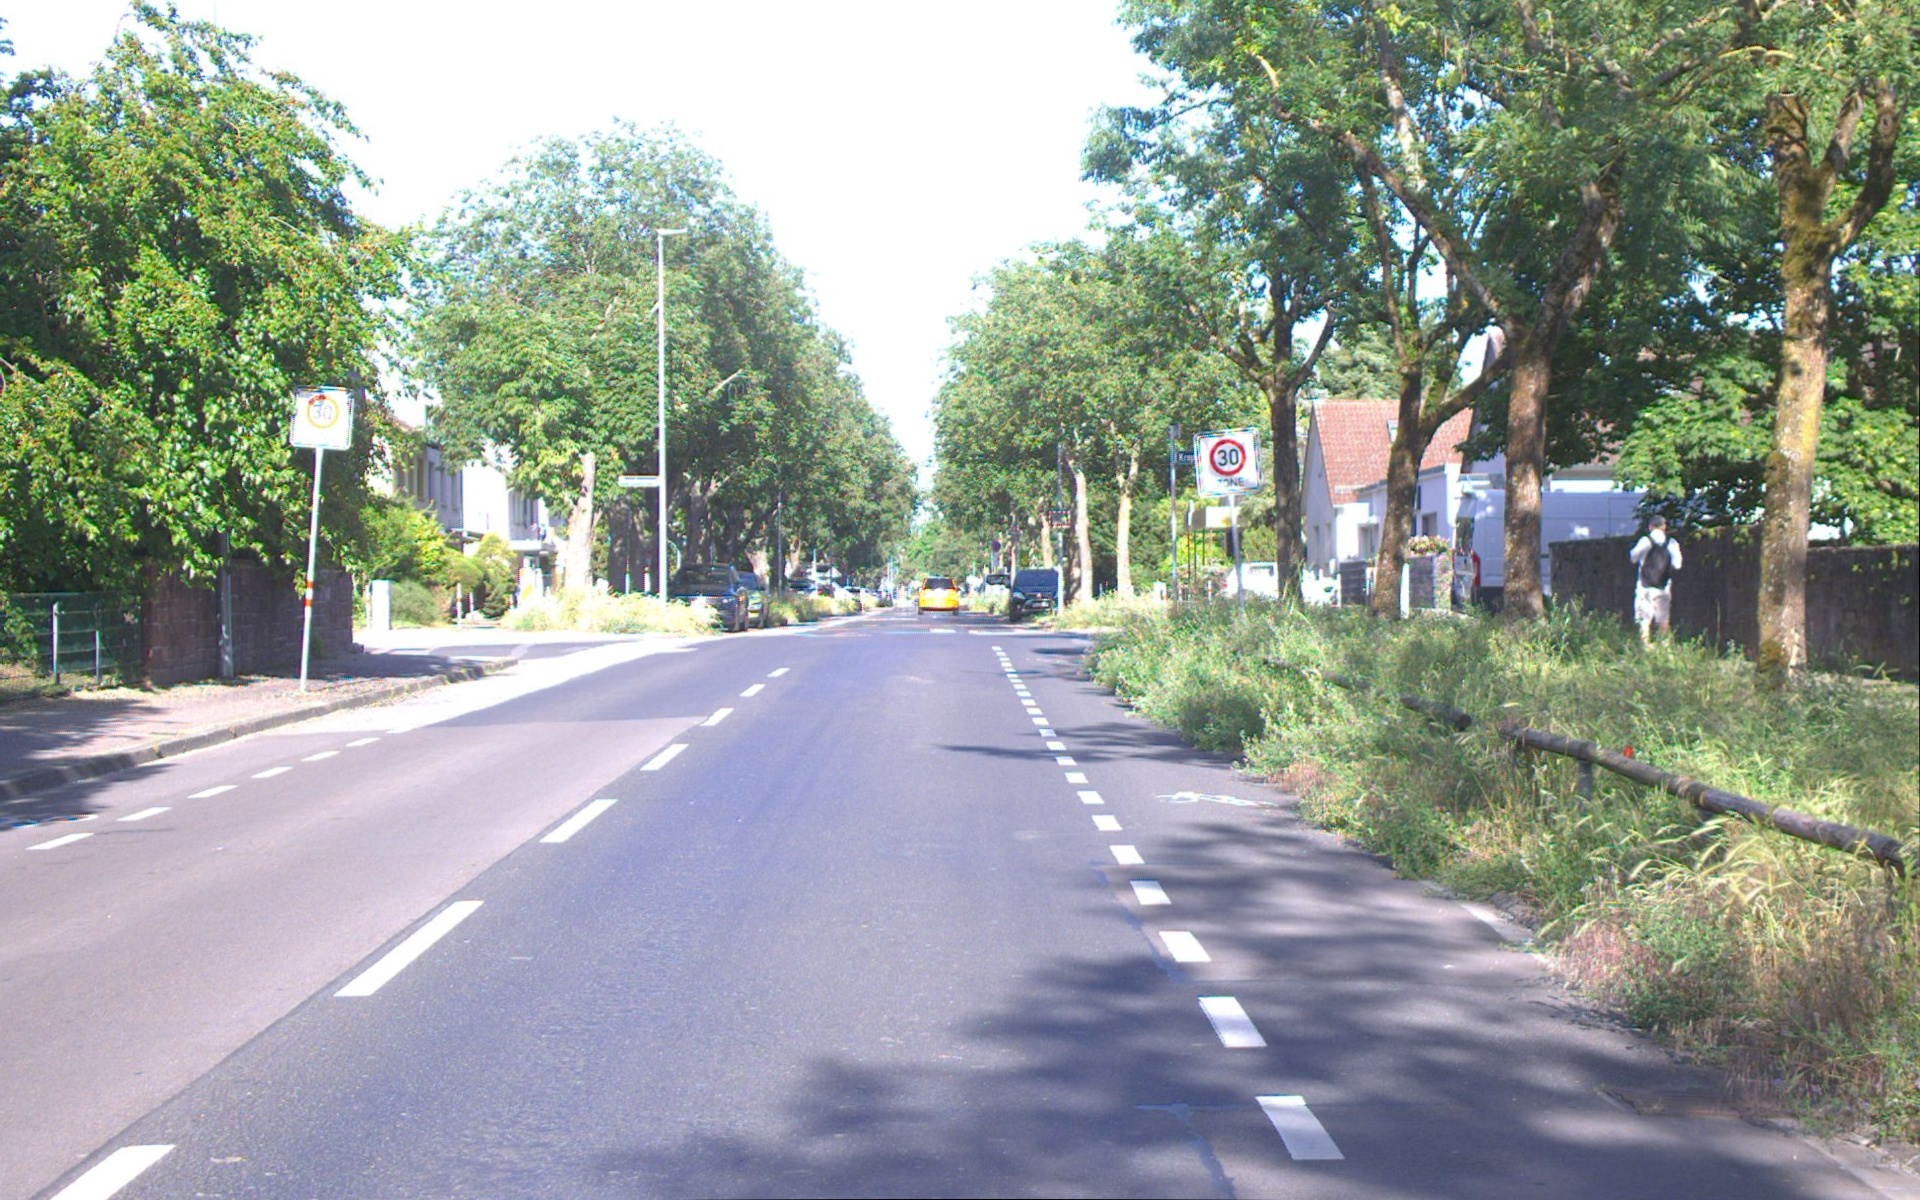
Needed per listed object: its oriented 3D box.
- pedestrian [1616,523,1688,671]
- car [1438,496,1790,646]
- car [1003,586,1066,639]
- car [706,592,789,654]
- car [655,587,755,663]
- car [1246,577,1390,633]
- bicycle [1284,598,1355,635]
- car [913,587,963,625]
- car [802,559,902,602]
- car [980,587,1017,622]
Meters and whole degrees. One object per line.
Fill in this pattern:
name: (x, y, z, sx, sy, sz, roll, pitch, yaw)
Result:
pedestrian: (8.131, -0.044, 40.410, 0.637, 1.700, 0.612, -3, 1, -1)
car: (11.247, -0.499, 59.379, 5.594, 2.530, 2.266, 0, 0, -3)
car: (2.365, 0.417, 110.489, 1.853, 1.620, 4.469, -1, -1, -1)
car: (-5.863, 0.667, 95.160, 1.939, 1.603, 4.383, 1, -1, 1)
car: (-6.131, 0.627, 83.190, 1.953, 1.721, 4.874, 1, -1, 1)
car: (10.629, 0.134, 102.274, 3.987, 1.484, 1.902, -2, 1, -1)
bicycle: (10.354, 0.466, 99.140, 1.958, 0.995, 0.576, -2, 1, -1)
car: (-0.919, 0.261, 143.427, 1.888, 1.474, 3.888, 2, -1, -2)
car: (-6.048, -1.102, 192.670, 5.498, 2.240, 2.517, 1, 1, -2)
car: (2.050, 0.249, 183.594, 1.902, 1.768, 4.301, 1, -1, 0)
